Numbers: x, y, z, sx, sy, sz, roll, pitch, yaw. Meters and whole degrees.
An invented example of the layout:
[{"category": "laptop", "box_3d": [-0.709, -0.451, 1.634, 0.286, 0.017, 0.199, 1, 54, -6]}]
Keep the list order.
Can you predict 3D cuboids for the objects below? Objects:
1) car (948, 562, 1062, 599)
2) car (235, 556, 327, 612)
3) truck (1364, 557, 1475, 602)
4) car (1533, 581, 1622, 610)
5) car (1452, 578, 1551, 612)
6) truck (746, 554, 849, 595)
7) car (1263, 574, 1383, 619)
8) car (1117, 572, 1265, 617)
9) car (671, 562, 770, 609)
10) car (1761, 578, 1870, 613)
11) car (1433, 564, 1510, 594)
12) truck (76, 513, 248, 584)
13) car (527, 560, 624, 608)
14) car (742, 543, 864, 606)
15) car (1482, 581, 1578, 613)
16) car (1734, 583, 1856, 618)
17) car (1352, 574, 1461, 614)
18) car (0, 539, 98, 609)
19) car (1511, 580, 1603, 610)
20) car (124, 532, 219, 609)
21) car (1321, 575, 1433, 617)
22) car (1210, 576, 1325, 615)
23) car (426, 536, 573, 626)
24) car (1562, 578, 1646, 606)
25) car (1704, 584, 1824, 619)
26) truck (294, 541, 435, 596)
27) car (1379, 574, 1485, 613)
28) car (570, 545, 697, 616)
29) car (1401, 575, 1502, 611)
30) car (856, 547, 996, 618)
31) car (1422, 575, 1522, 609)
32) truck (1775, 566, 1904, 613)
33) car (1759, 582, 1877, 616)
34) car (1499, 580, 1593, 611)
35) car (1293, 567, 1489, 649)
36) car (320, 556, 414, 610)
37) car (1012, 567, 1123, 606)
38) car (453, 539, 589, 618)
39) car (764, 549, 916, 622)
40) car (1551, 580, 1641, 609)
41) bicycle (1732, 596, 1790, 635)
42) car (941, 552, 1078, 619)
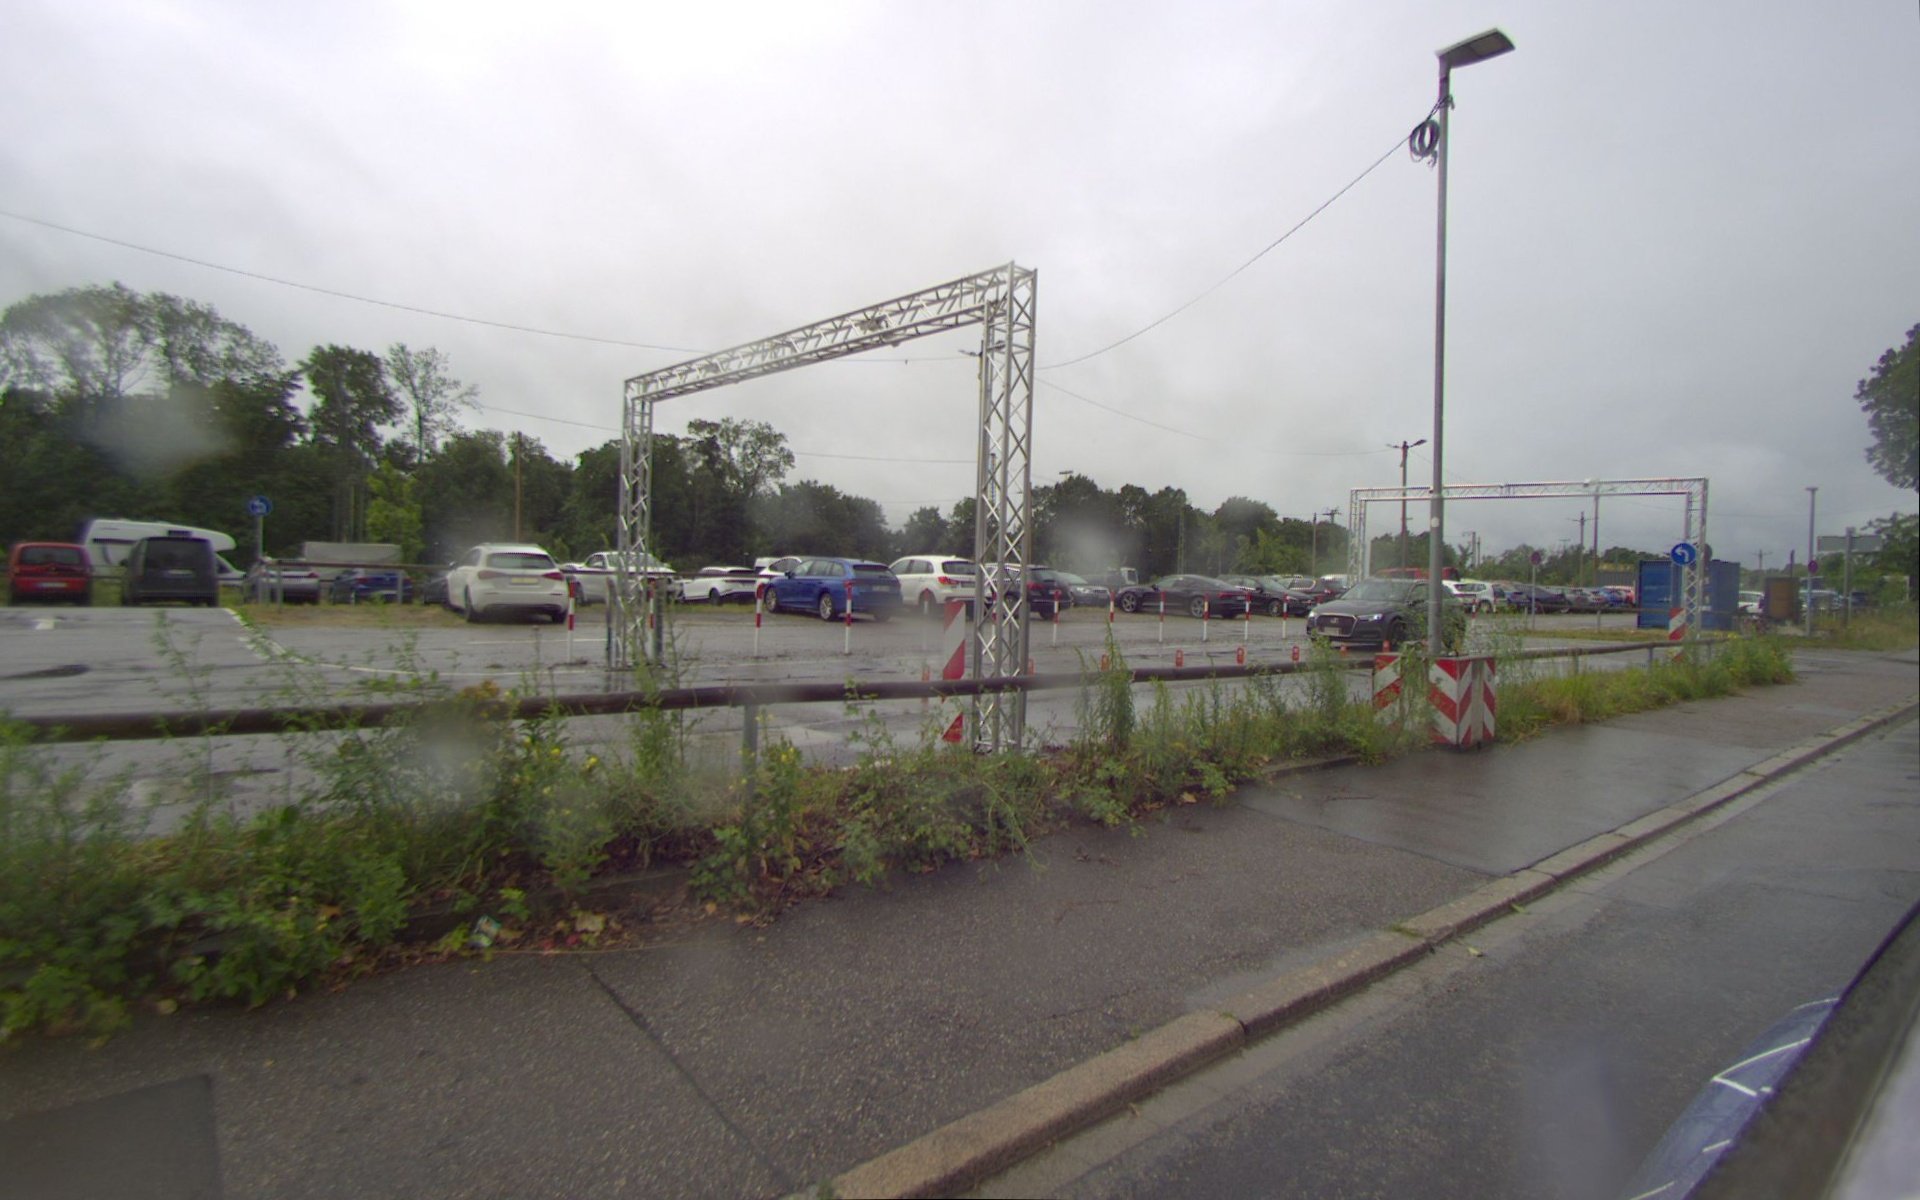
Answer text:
[{"category": "car", "box_3d": [1.570, -0.724, 36.401, 1.801, 1.084, 4.069, -1, 5, -41]}, {"category": "car", "box_3d": [-21.134, -0.530, 31.424, 1.985, 1.609, 4.328, 1, 2, -39]}, {"category": "truck", "box_3d": [26.066, -1.177, 57.553, 2.115, 2.397, 5.300, 0, 2, -40]}, {"category": "car", "box_3d": [35.495, -0.309, 58.223, 1.788, 1.444, 3.964, -1, 4, -37]}, {"category": "car", "box_3d": [27.279, -0.282, 51.092, 1.852, 1.444, 3.964, -1, 4, -37]}, {"category": "truck", "box_3d": [-8.844, -1.373, 55.413, 5.183, 2.038, 2.087, 1, 2, -39]}, {"category": "car", "box_3d": [13.875, -0.177, 38.837, 1.836, 1.508, 3.964, -1, 4, -37]}, {"category": "car", "box_3d": [7.666, -0.236, 33.983, 1.944, 1.236, 4.598, -1, 4, -40]}, {"category": "car", "box_3d": [-9.650, -0.616, 40.570, 1.986, 1.742, 4.325, 0, 2, -42]}, {"category": "car", "box_3d": [42.277, -0.254, 50.066, 1.865, 1.614, 3.901, -1, 2, -42]}, {"category": "car", "box_3d": [32.106, -1.336, 63.613, 1.763, 1.822, 4.000, 0, 2, -35]}, {"category": "truck", "box_3d": [-30.202, -1.907, 38.434, 4.994, 2.431, 2.077, 1, 2, -40]}, {"category": "car", "box_3d": [-14.065, -0.601, 36.919, 1.985, 1.609, 4.327, 1, 2, -40]}, {"category": "car", "box_3d": [-4.877, -0.836, 31.054, 1.801, 1.679, 4.069, -1, 5, -41]}, {"category": "car", "box_3d": [29.801, -0.206, 52.972, 1.852, 1.444, 3.964, -1, 4, -37]}, {"category": "car", "box_3d": [36.588, -0.032, 44.406, 1.873, 1.440, 3.901, -1, 2, -42]}, {"category": "car", "box_3d": [19.272, -0.282, 43.834, 1.745, 1.508, 3.964, -1, 4, -37]}, {"category": "car", "box_3d": [-25.173, -0.730, 27.774, 3.985, 1.791, 1.763, 3, 2, 42]}, {"category": "car", "box_3d": [33.342, -0.323, 56.598, 1.852, 1.444, 3.964, -1, 4, -37]}, {"category": "car", "box_3d": [-22.693, -0.852, 29.069, 1.985, 2.023, 4.795, 1, 2, -39]}, {"category": "car", "box_3d": [17.251, -0.216, 42.008, 1.745, 1.508, 3.964, -1, 4, -37]}, {"category": "car", "box_3d": [11.253, -0.209, 37.240, 1.616, 1.236, 3.903, -1, 4, -34]}, {"category": "car", "box_3d": [-9.144, -0.448, 19.940, 1.892, 1.501, 3.843, -1, 5, -37]}, {"category": "car", "box_3d": [39.536, -0.516, 62.187, 1.676, 1.498, 3.964, -1, 4, -37]}, {"category": "car", "box_3d": [34.323, 0.026, 43.242, 1.873, 1.410, 3.777, -1, 2, -42]}, {"category": "truck", "box_3d": [-25.137, -1.307, 42.775, 4.987, 2.164, 2.079, 1, 2, -35]}, {"category": "car", "box_3d": [21.272, -0.333, 45.730, 1.745, 1.508, 3.964, -1, 4, -37]}, {"category": "car", "box_3d": [-8.674, -0.572, 26.669, 1.892, 1.624, 4.072, -1, 5, -39]}, {"category": "car", "box_3d": [23.376, -0.374, 48.260, 1.745, 1.508, 3.964, -1, 4, -37]}, {"category": "car", "box_3d": [-0.968, -0.529, 26.678, 1.753, 1.602, 3.917, -1, 5, -37]}, {"category": "car", "box_3d": [25.264, -0.422, 50.056, 1.852, 1.444, 3.964, -1, 4, -37]}, {"category": "truck", "box_3d": [47.162, -0.591, 54.365, 2.074, 2.433, 5.040, 0, 1, -42]}, {"category": "car", "box_3d": [38.778, -0.095, 45.788, 1.749, 1.440, 3.901, -1, 2, -42]}, {"category": "car", "box_3d": [31.572, -0.290, 54.599, 1.852, 1.444, 3.964, -1, 4, -37]}, {"category": "car", "box_3d": [9.005, 0.148, 21.044, 4.149, 1.474, 1.901, 1, 3, -38]}, {"category": "car", "box_3d": [-19.372, -0.583, 32.998, 1.985, 1.609, 4.328, 1, 2, -39]}, {"category": "car", "box_3d": [3.978, -0.515, 37.755, 1.725, 1.348, 3.993, 0, 2, -42]}, {"category": "car", "box_3d": [-10.811, -0.602, 24.735, 1.892, 1.624, 4.716, -1, 5, -38]}, {"category": "car", "box_3d": [-2.998, -0.417, 24.602, 1.892, 1.501, 4.059, -1, 5, -37]}, {"category": "car", "box_3d": [37.701, -0.364, 60.044, 1.890, 1.508, 4.078, -1, 4, -37]}, {"category": "bicycle", "box_3d": [23.773, 0.455, 30.025, 1.667, 1.097, 0.510, 1, 1, -19]}, {"category": "car", "box_3d": [1.305, -0.465, 28.059, 1.753, 1.602, 3.788, -1, 5, -37]}]
